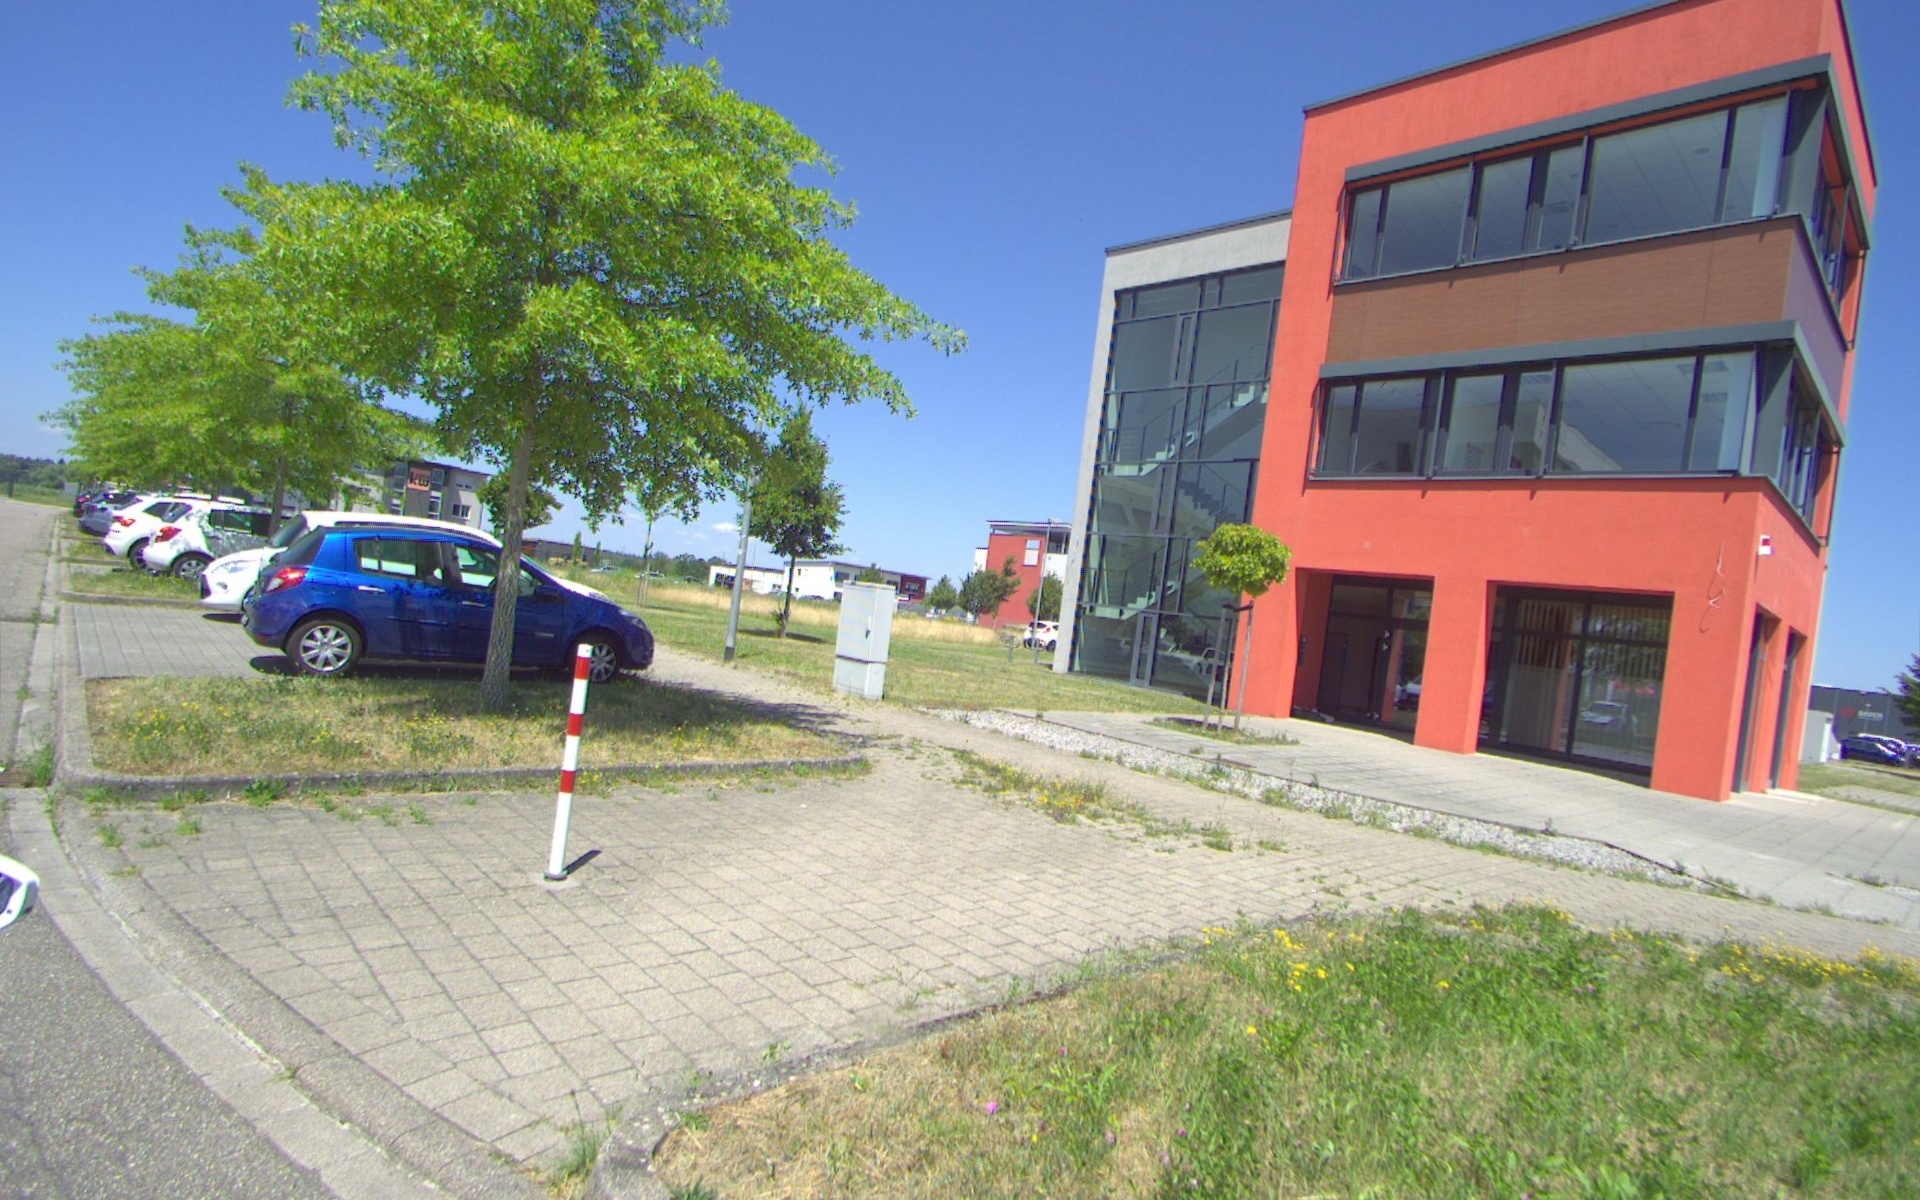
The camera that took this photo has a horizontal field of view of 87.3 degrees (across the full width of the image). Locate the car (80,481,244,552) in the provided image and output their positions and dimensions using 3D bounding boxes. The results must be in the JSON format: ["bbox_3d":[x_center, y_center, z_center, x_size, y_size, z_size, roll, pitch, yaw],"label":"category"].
[{"bbox_3d":[-28.391,-2.936,35.867,4.386,1.853,1.774,6,0,-42],"label":"car"}]

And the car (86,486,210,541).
[{"bbox_3d":[-34.071,-3.614,42.267,3.861,1.699,1.761,6,1,-43],"label":"car"}]

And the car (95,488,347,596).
[{"bbox_3d":[-14.681,-1.131,20.174,3.815,1.572,1.761,7,1,-38],"label":"car"}]

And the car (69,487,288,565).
[{"bbox_3d":[-22.446,-2.097,29.036,1.888,1.580,4.705,7,1,43],"label":"car"}]

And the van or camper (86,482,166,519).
[{"bbox_3d":[-70.473,-8.328,85.015,4.924,2.188,1.976,9,-3,-44],"label":"van or camper"}]

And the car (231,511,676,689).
[{"bbox_3d":[-5.370,0.055,10.906,3.975,1.510,1.708,5,2,-39],"label":"car"}]

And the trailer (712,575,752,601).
[{"bbox_3d":[-27.663,-1.457,121.973,3.977,2.631,2.204,8,0,-44],"label":"trailer"}]

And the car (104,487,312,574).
[{"bbox_3d":[-19.111,-1.742,25.660,4.031,1.645,1.673,6,1,-42],"label":"car"}]

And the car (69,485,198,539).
[{"bbox_3d":[-36.119,-3.829,44.004,4.160,1.717,1.760,6,1,-44],"label":"car"}]

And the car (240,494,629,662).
[{"bbox_3d":[-6.601,-0.229,12.837,4.087,1.672,1.755,5,2,-38],"label":"car"}]

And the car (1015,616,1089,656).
[{"bbox_3d":[4.477,1.761,48.763,3.313,1.528,1.698,8,0,-43],"label":"car"}]

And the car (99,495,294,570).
[{"bbox_3d":[-20.621,-1.810,27.273,4.031,1.471,1.626,6,1,-42],"label":"car"}]

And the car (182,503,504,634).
[{"bbox_3d":[-8.765,-0.396,14.490,1.589,1.482,3.608,8,2,42],"label":"car"}]

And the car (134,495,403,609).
[{"bbox_3d":[-12.764,-0.860,18.689,3.822,1.543,1.758,8,0,-43],"label":"car"}]
